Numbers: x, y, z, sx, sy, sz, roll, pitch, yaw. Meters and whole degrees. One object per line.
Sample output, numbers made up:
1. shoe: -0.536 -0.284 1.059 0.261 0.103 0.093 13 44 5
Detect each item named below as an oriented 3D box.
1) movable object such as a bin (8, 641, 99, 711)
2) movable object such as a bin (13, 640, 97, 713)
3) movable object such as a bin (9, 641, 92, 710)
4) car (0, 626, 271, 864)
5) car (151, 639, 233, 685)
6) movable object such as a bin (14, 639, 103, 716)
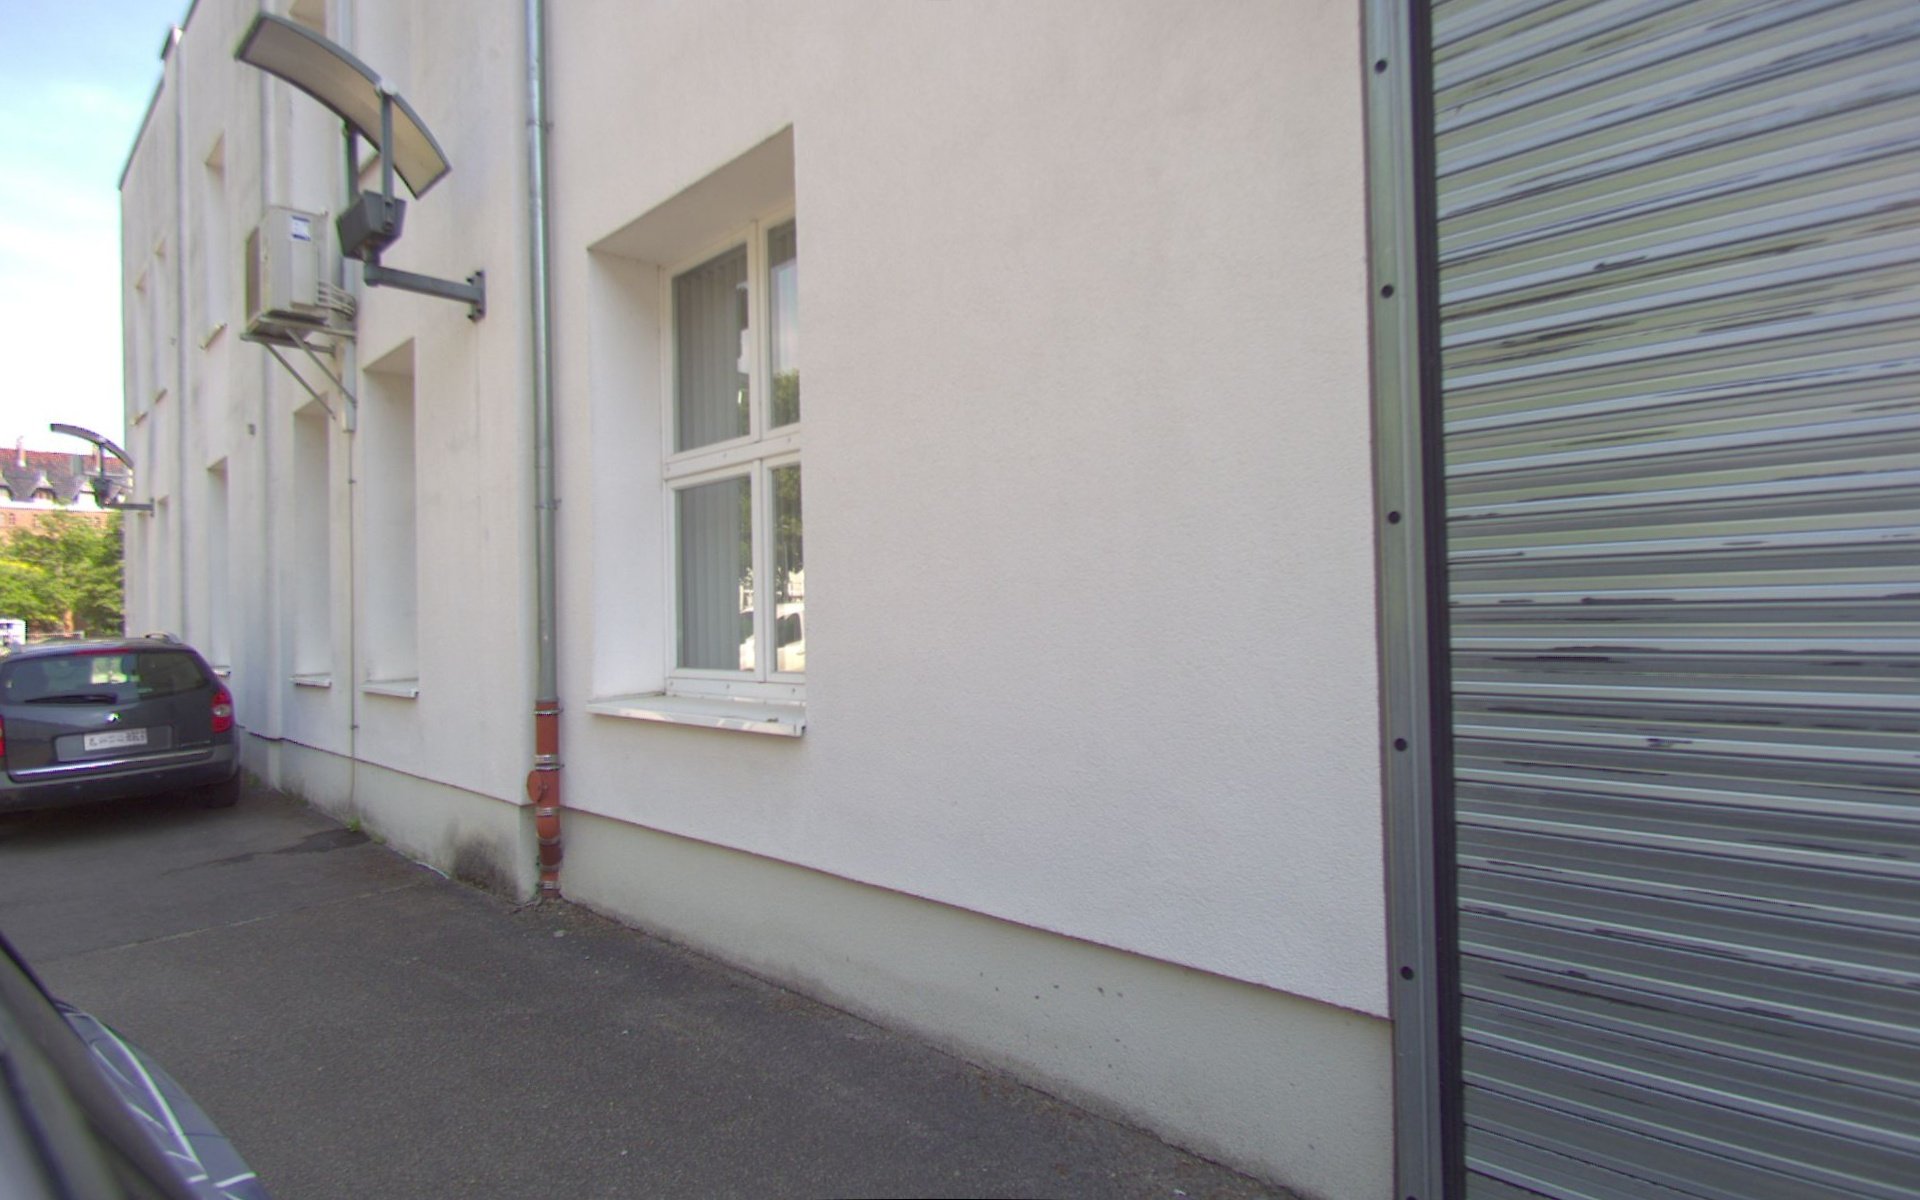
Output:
1. movable object such as a bin: -20.020 1.656 22.361 1.220 1.442 1.234 -3 -2 33
2. movable object such as a bin: -19.080 1.588 21.339 1.366 1.442 1.230 -3 -2 44
3. movable object such as a bin: -21.002 1.727 23.368 1.337 1.493 1.232 -3 -2 39
4. car: -7.589 1.025 8.723 4.431 1.452 1.817 -1 2 44
5. car: -33.923 2.697 44.821 1.888 1.794 4.326 -2 -1 -24
6. movable object such as a bin: -18.035 1.524 20.246 1.350 1.442 1.230 -3 -2 44
